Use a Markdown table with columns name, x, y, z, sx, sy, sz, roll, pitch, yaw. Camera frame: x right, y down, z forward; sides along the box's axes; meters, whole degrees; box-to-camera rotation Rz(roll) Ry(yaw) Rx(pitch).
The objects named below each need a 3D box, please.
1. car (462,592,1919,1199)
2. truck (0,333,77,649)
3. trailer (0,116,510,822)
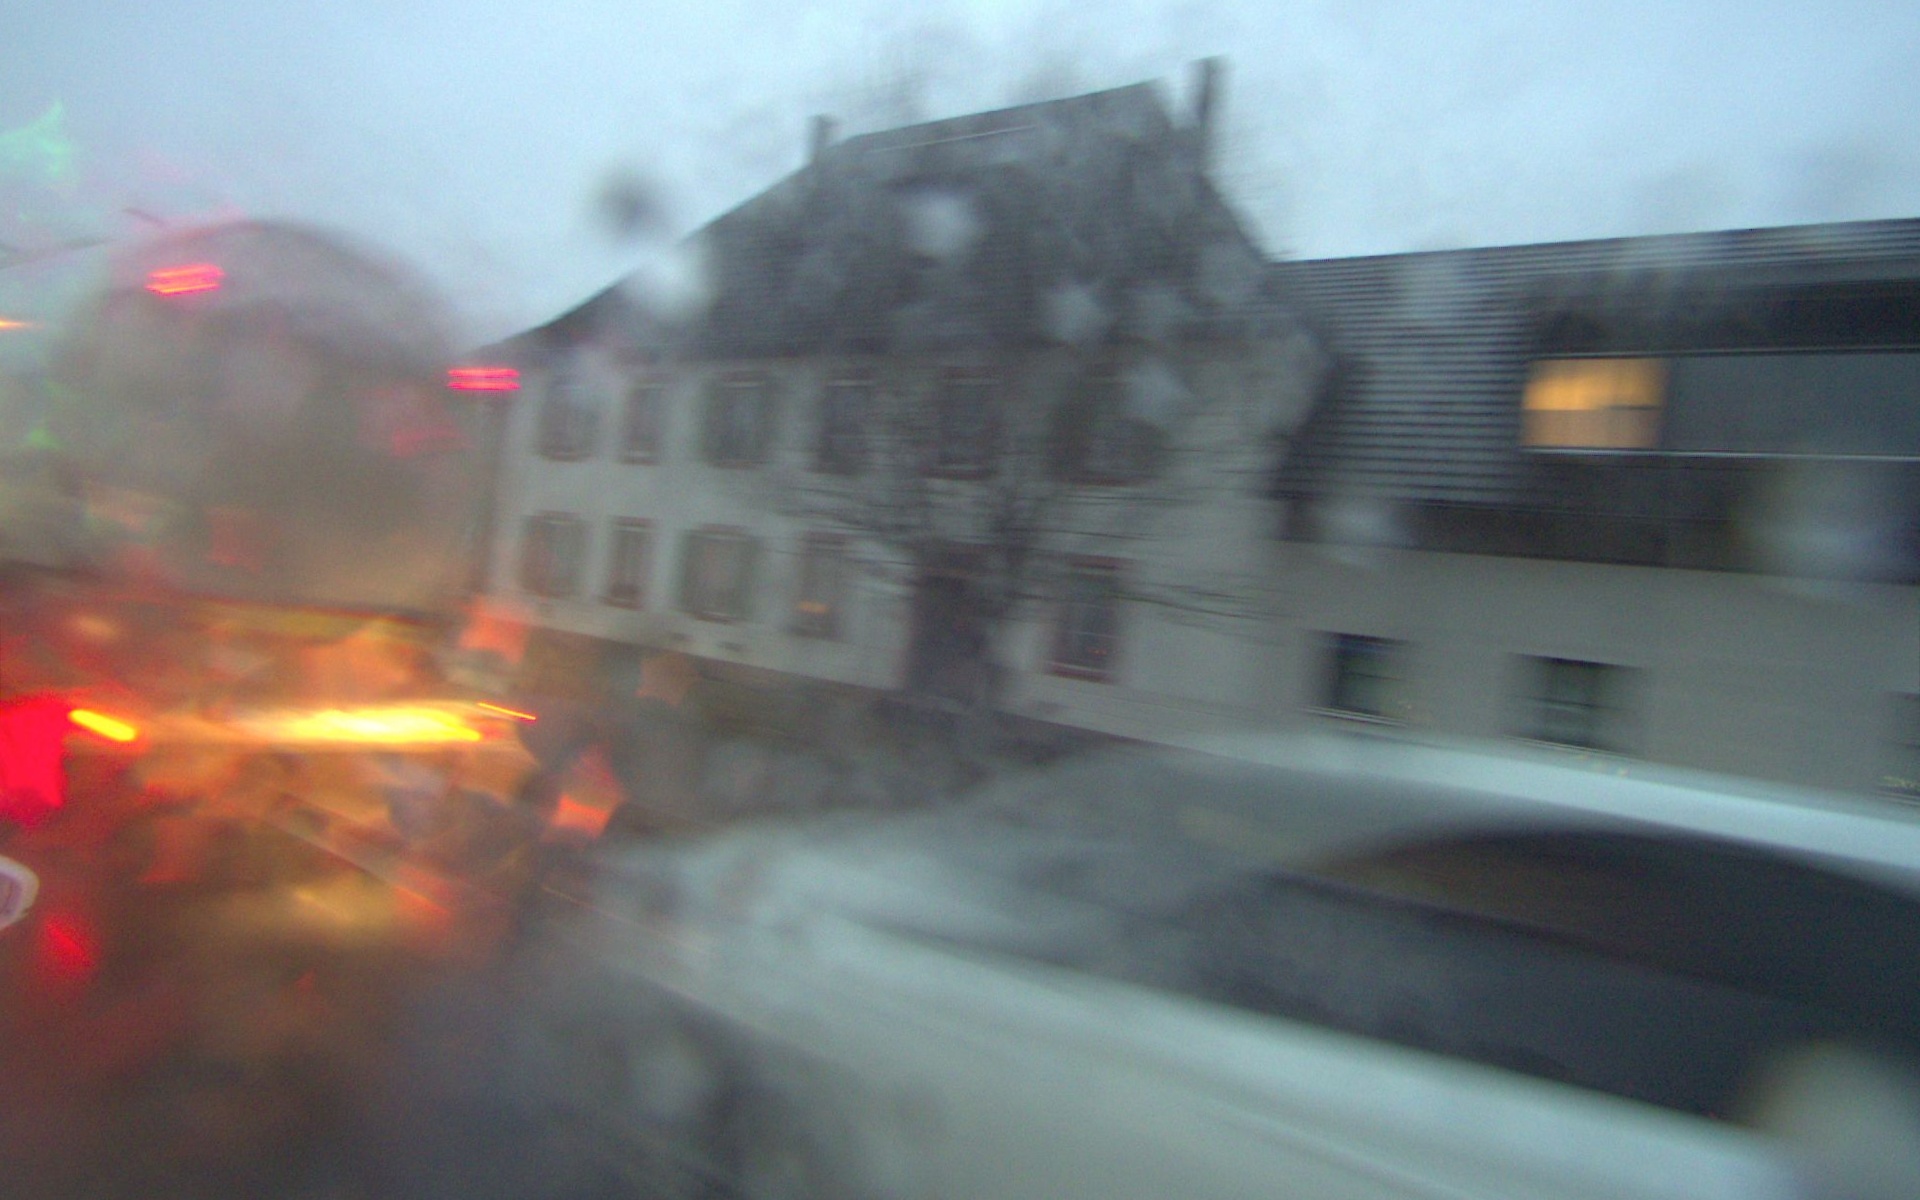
| name | x | y | z | sx | sy | sz | roll | pitch | yaw |
| --- | --- | --- | --- | --- | --- | --- | --- | --- | --- |
| car | 1.120 | 1.003 | 2.040 | 4.309 | 1.455 | 1.666 | 7 | -2 | 32 |
| truck | -13.068 | -1.517 | 11.562 | 6.169 | 3.267 | 2.466 | 7 | -1 | 32 |
| trailer | -8.343 | -0.986 | 8.533 | 10.690 | 3.278 | 2.492 | 7 | -1 | 33 |
